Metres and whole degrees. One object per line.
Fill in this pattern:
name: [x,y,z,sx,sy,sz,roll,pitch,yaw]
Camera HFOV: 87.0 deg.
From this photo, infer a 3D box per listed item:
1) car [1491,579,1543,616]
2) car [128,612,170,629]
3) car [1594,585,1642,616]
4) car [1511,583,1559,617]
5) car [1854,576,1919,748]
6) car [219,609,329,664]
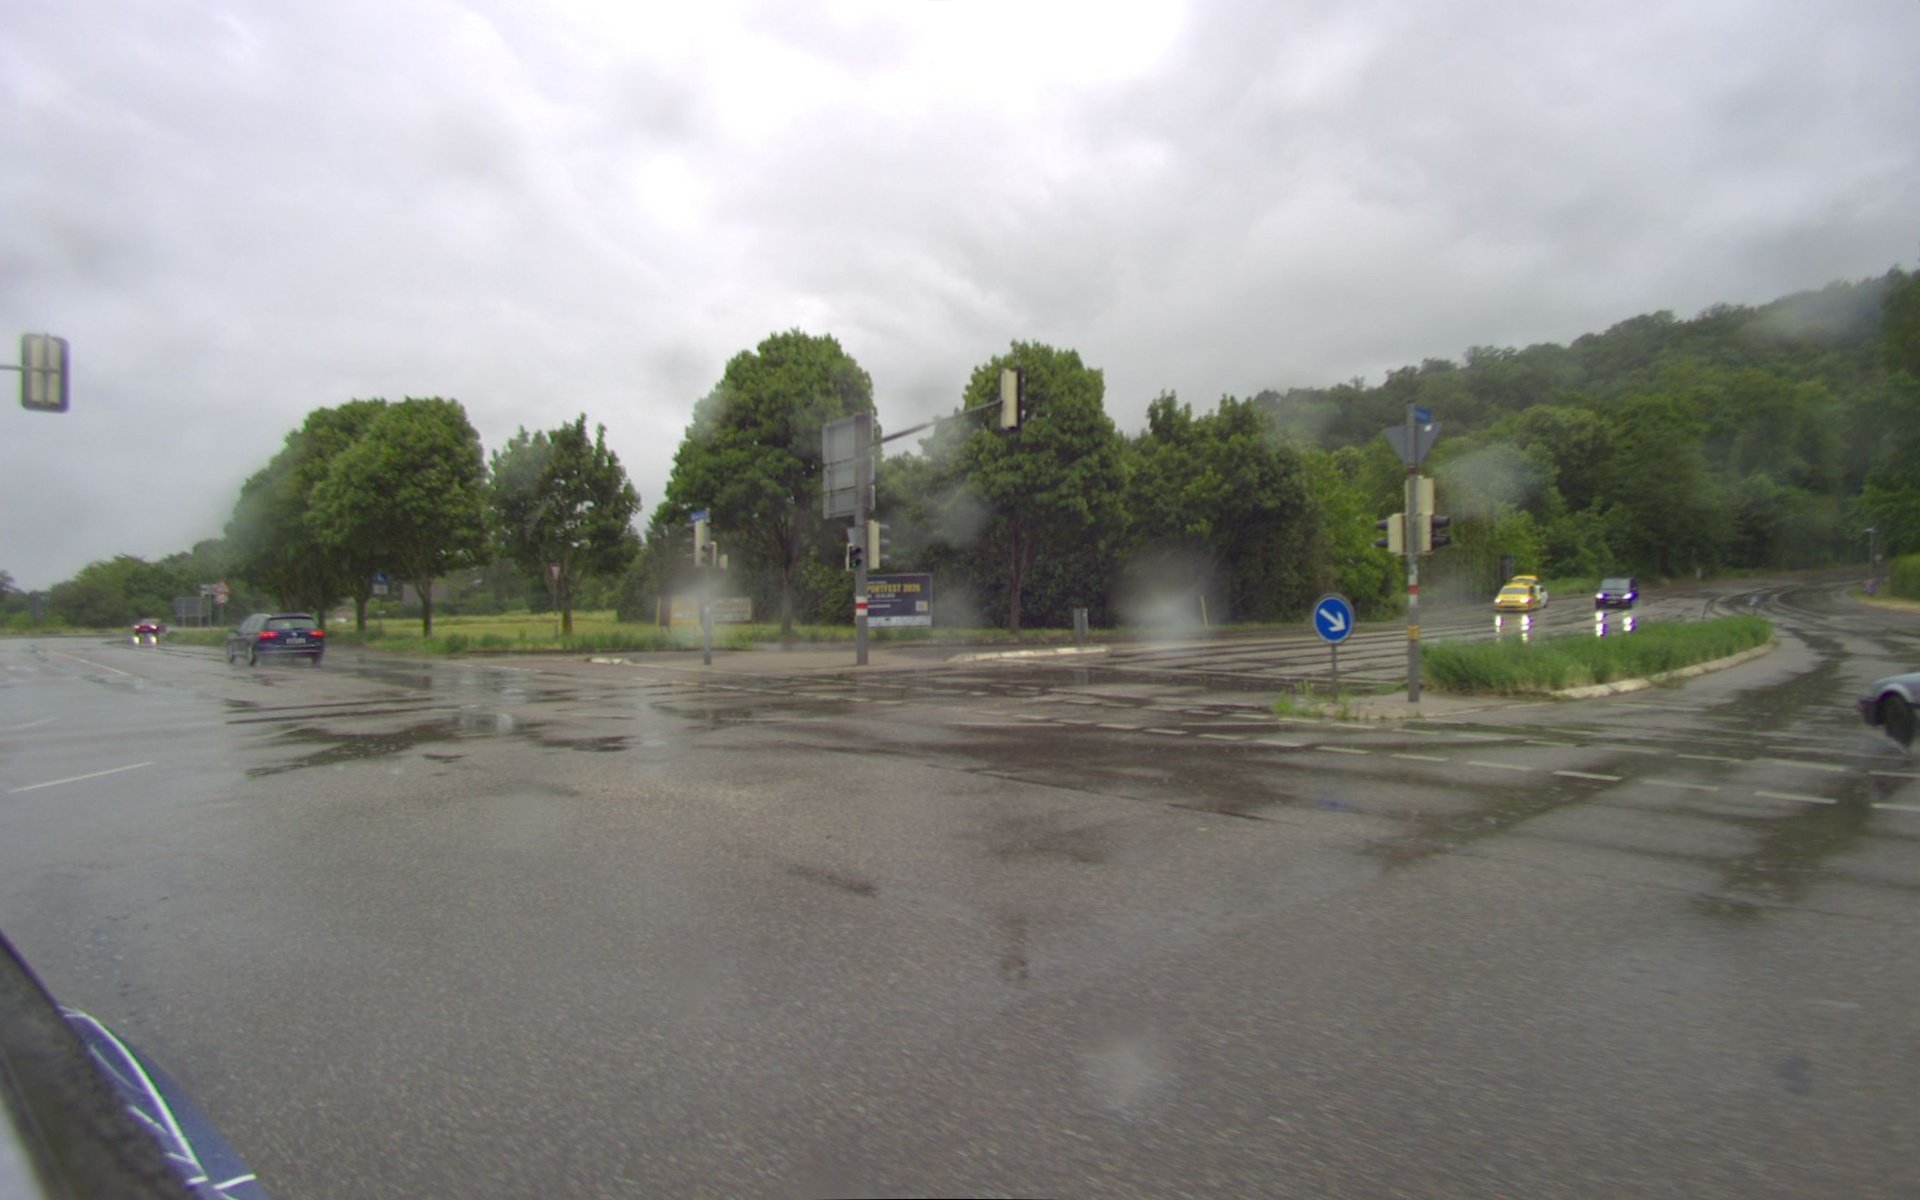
car: [32.748,-0.147,59.477,1.814,2.042,3.631,-1,0,43]
car: [-86.752,2.216,108.344,1.886,1.701,4.113,-1,0,-12]
car: [40.568,0.028,62.368,1.832,1.829,3.943,-1,-1,43]
car: [35.584,0.021,62.636,1.813,2.029,3.631,-1,-1,42]
car: [10.376,0.593,8.814,2.021,1.721,4.052,-2,0,11]
car: [-20.278,1.043,29.850,4.452,1.477,1.690,-1,0,42]
